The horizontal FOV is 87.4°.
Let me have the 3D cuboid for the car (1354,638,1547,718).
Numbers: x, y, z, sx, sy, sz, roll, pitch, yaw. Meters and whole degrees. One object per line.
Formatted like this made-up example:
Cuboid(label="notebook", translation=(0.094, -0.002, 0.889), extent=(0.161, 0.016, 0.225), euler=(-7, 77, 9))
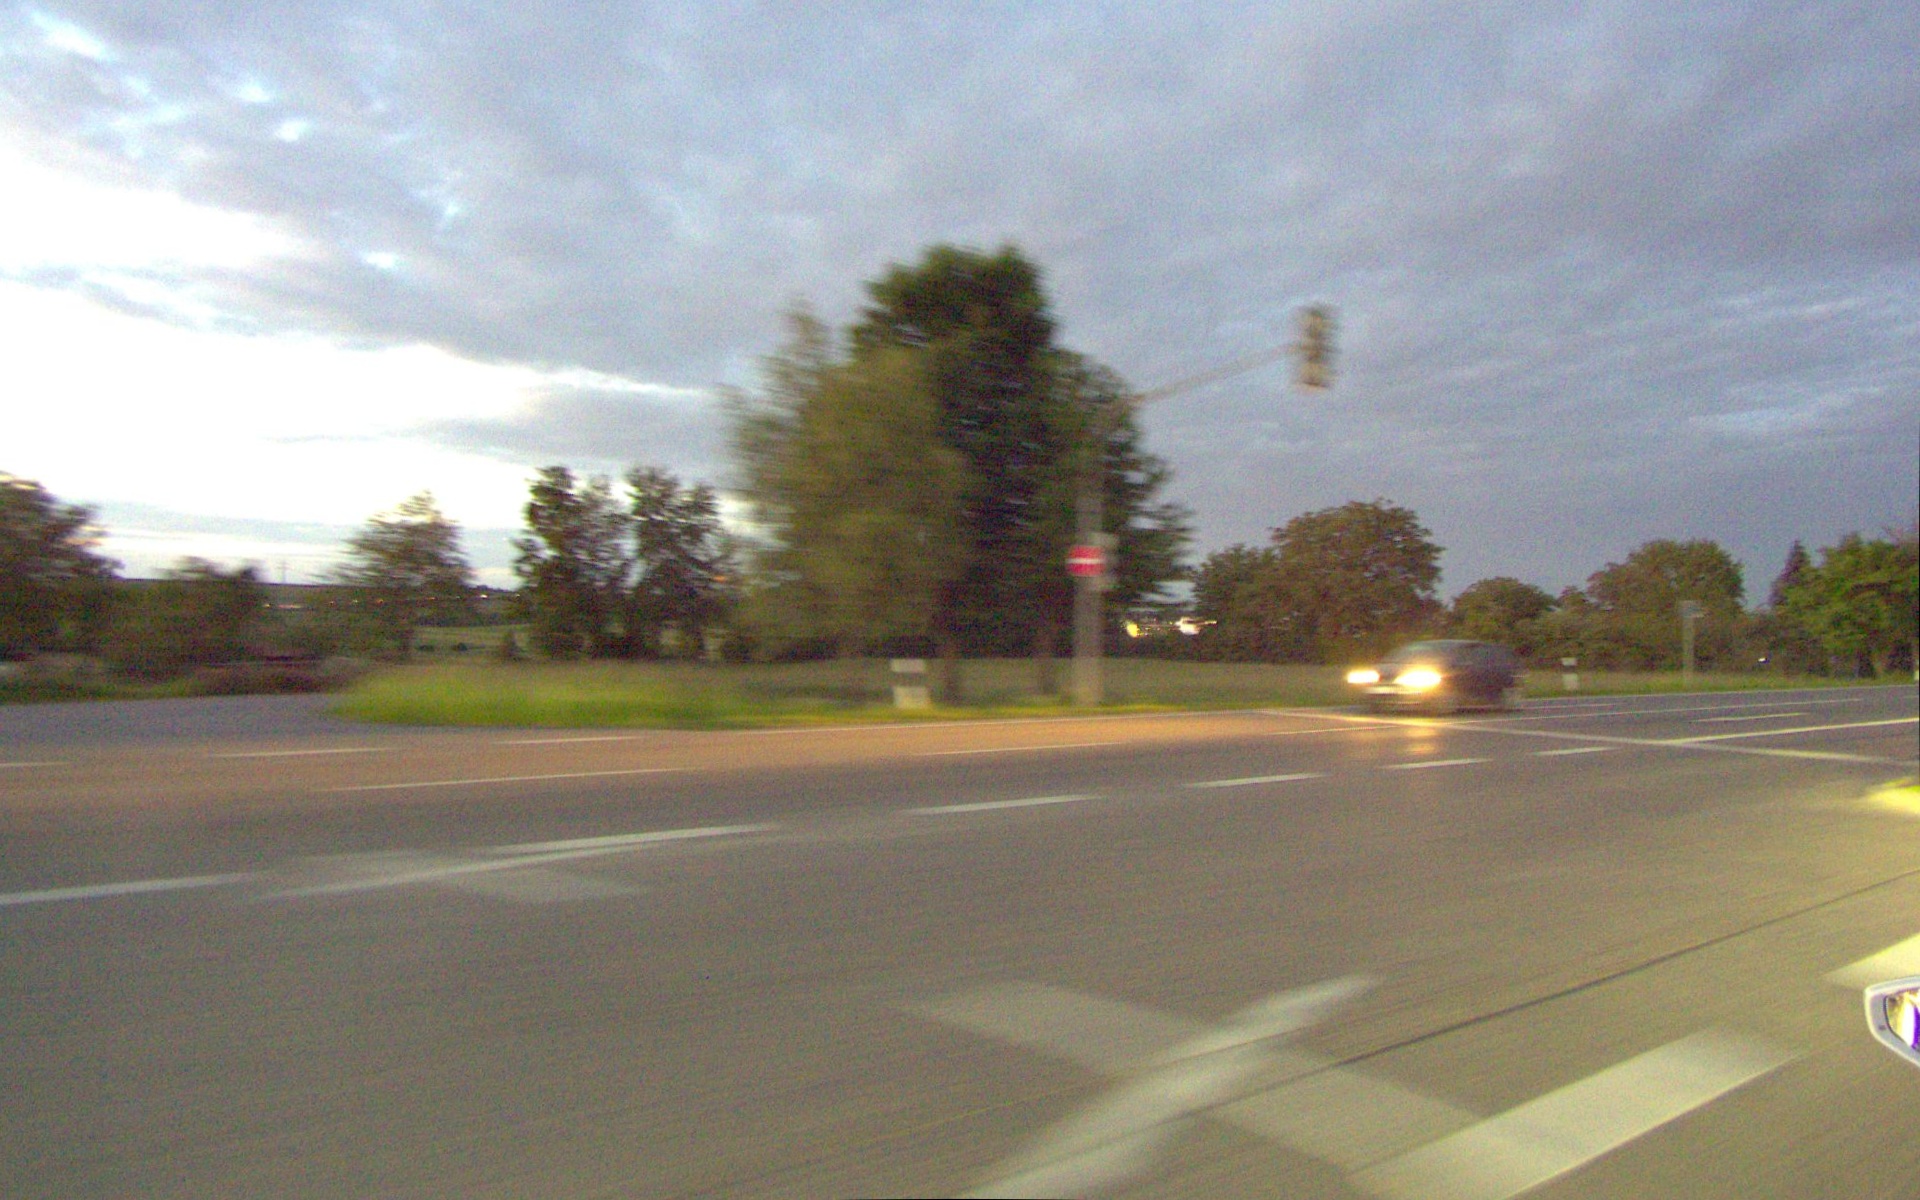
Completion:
Cuboid(label="car", translation=(9.984, 1.544, 20.368), extent=(3.986, 1.403, 1.643), euler=(3, 0, -32))
